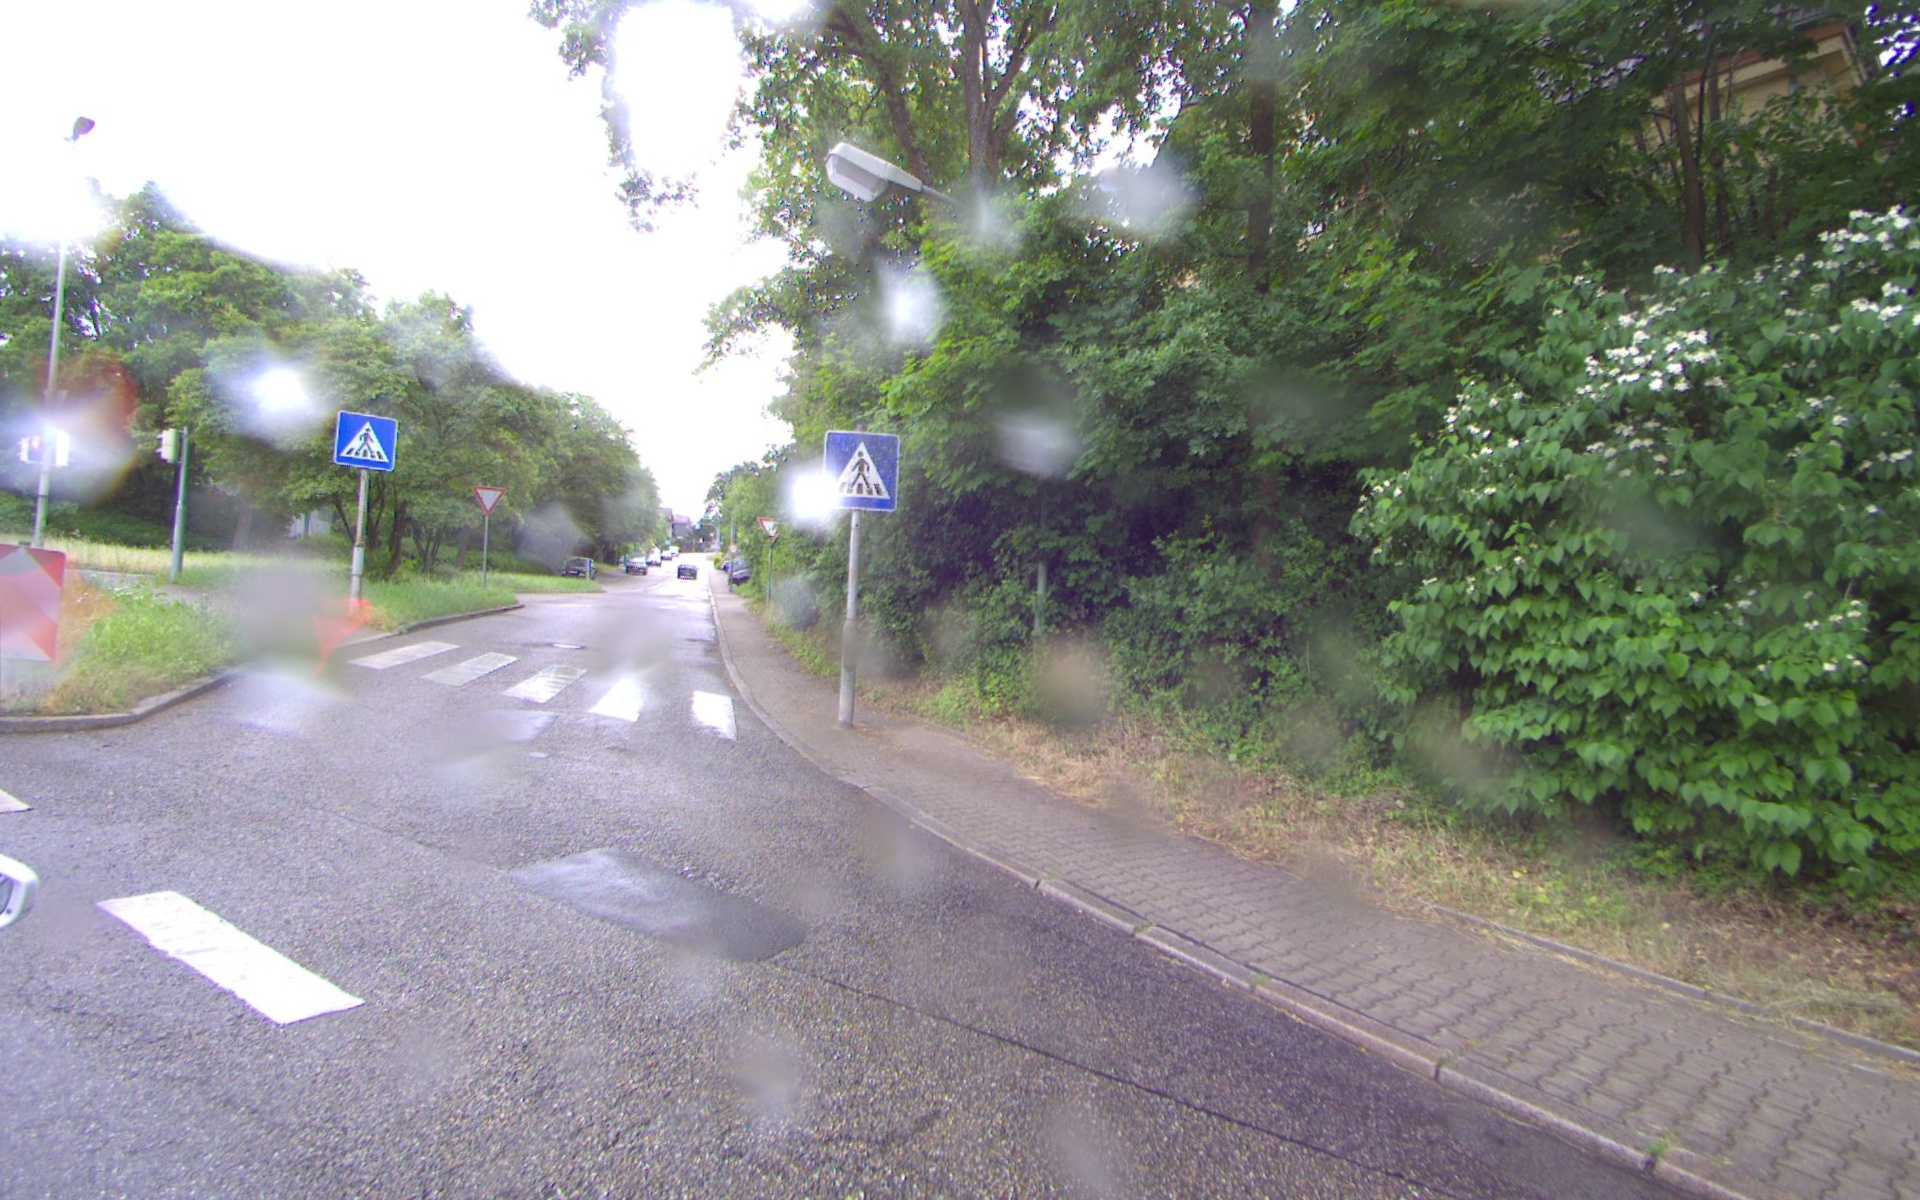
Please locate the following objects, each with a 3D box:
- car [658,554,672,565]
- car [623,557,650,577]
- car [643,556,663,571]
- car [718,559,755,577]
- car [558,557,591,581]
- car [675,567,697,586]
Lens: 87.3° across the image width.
[{"bbox_3d":[-46.808,-6.464,159.527,1.877,1.413,4.151,7,-2,-20],"label":"car"},{"bbox_3d":[-30.134,-3.034,93.749,1.874,1.467,4.285,7,-2,-13],"label":"car"},{"bbox_3d":[-37.740,-4.442,123.663,1.968,1.463,4.278,7,-2,-19],"label":"car"},{"bbox_3d":[-25.801,-3.703,116.111,3.939,1.594,1.766,5,1,-18],"label":"car"},{"bbox_3d":[-25.915,-2.090,67.754,1.651,1.387,3.477,6,0,-16],"label":"car"},{"bbox_3d":[-25.754,-2.253,94.673,1.789,1.461,4.148,6,1,-14],"label":"car"}]
